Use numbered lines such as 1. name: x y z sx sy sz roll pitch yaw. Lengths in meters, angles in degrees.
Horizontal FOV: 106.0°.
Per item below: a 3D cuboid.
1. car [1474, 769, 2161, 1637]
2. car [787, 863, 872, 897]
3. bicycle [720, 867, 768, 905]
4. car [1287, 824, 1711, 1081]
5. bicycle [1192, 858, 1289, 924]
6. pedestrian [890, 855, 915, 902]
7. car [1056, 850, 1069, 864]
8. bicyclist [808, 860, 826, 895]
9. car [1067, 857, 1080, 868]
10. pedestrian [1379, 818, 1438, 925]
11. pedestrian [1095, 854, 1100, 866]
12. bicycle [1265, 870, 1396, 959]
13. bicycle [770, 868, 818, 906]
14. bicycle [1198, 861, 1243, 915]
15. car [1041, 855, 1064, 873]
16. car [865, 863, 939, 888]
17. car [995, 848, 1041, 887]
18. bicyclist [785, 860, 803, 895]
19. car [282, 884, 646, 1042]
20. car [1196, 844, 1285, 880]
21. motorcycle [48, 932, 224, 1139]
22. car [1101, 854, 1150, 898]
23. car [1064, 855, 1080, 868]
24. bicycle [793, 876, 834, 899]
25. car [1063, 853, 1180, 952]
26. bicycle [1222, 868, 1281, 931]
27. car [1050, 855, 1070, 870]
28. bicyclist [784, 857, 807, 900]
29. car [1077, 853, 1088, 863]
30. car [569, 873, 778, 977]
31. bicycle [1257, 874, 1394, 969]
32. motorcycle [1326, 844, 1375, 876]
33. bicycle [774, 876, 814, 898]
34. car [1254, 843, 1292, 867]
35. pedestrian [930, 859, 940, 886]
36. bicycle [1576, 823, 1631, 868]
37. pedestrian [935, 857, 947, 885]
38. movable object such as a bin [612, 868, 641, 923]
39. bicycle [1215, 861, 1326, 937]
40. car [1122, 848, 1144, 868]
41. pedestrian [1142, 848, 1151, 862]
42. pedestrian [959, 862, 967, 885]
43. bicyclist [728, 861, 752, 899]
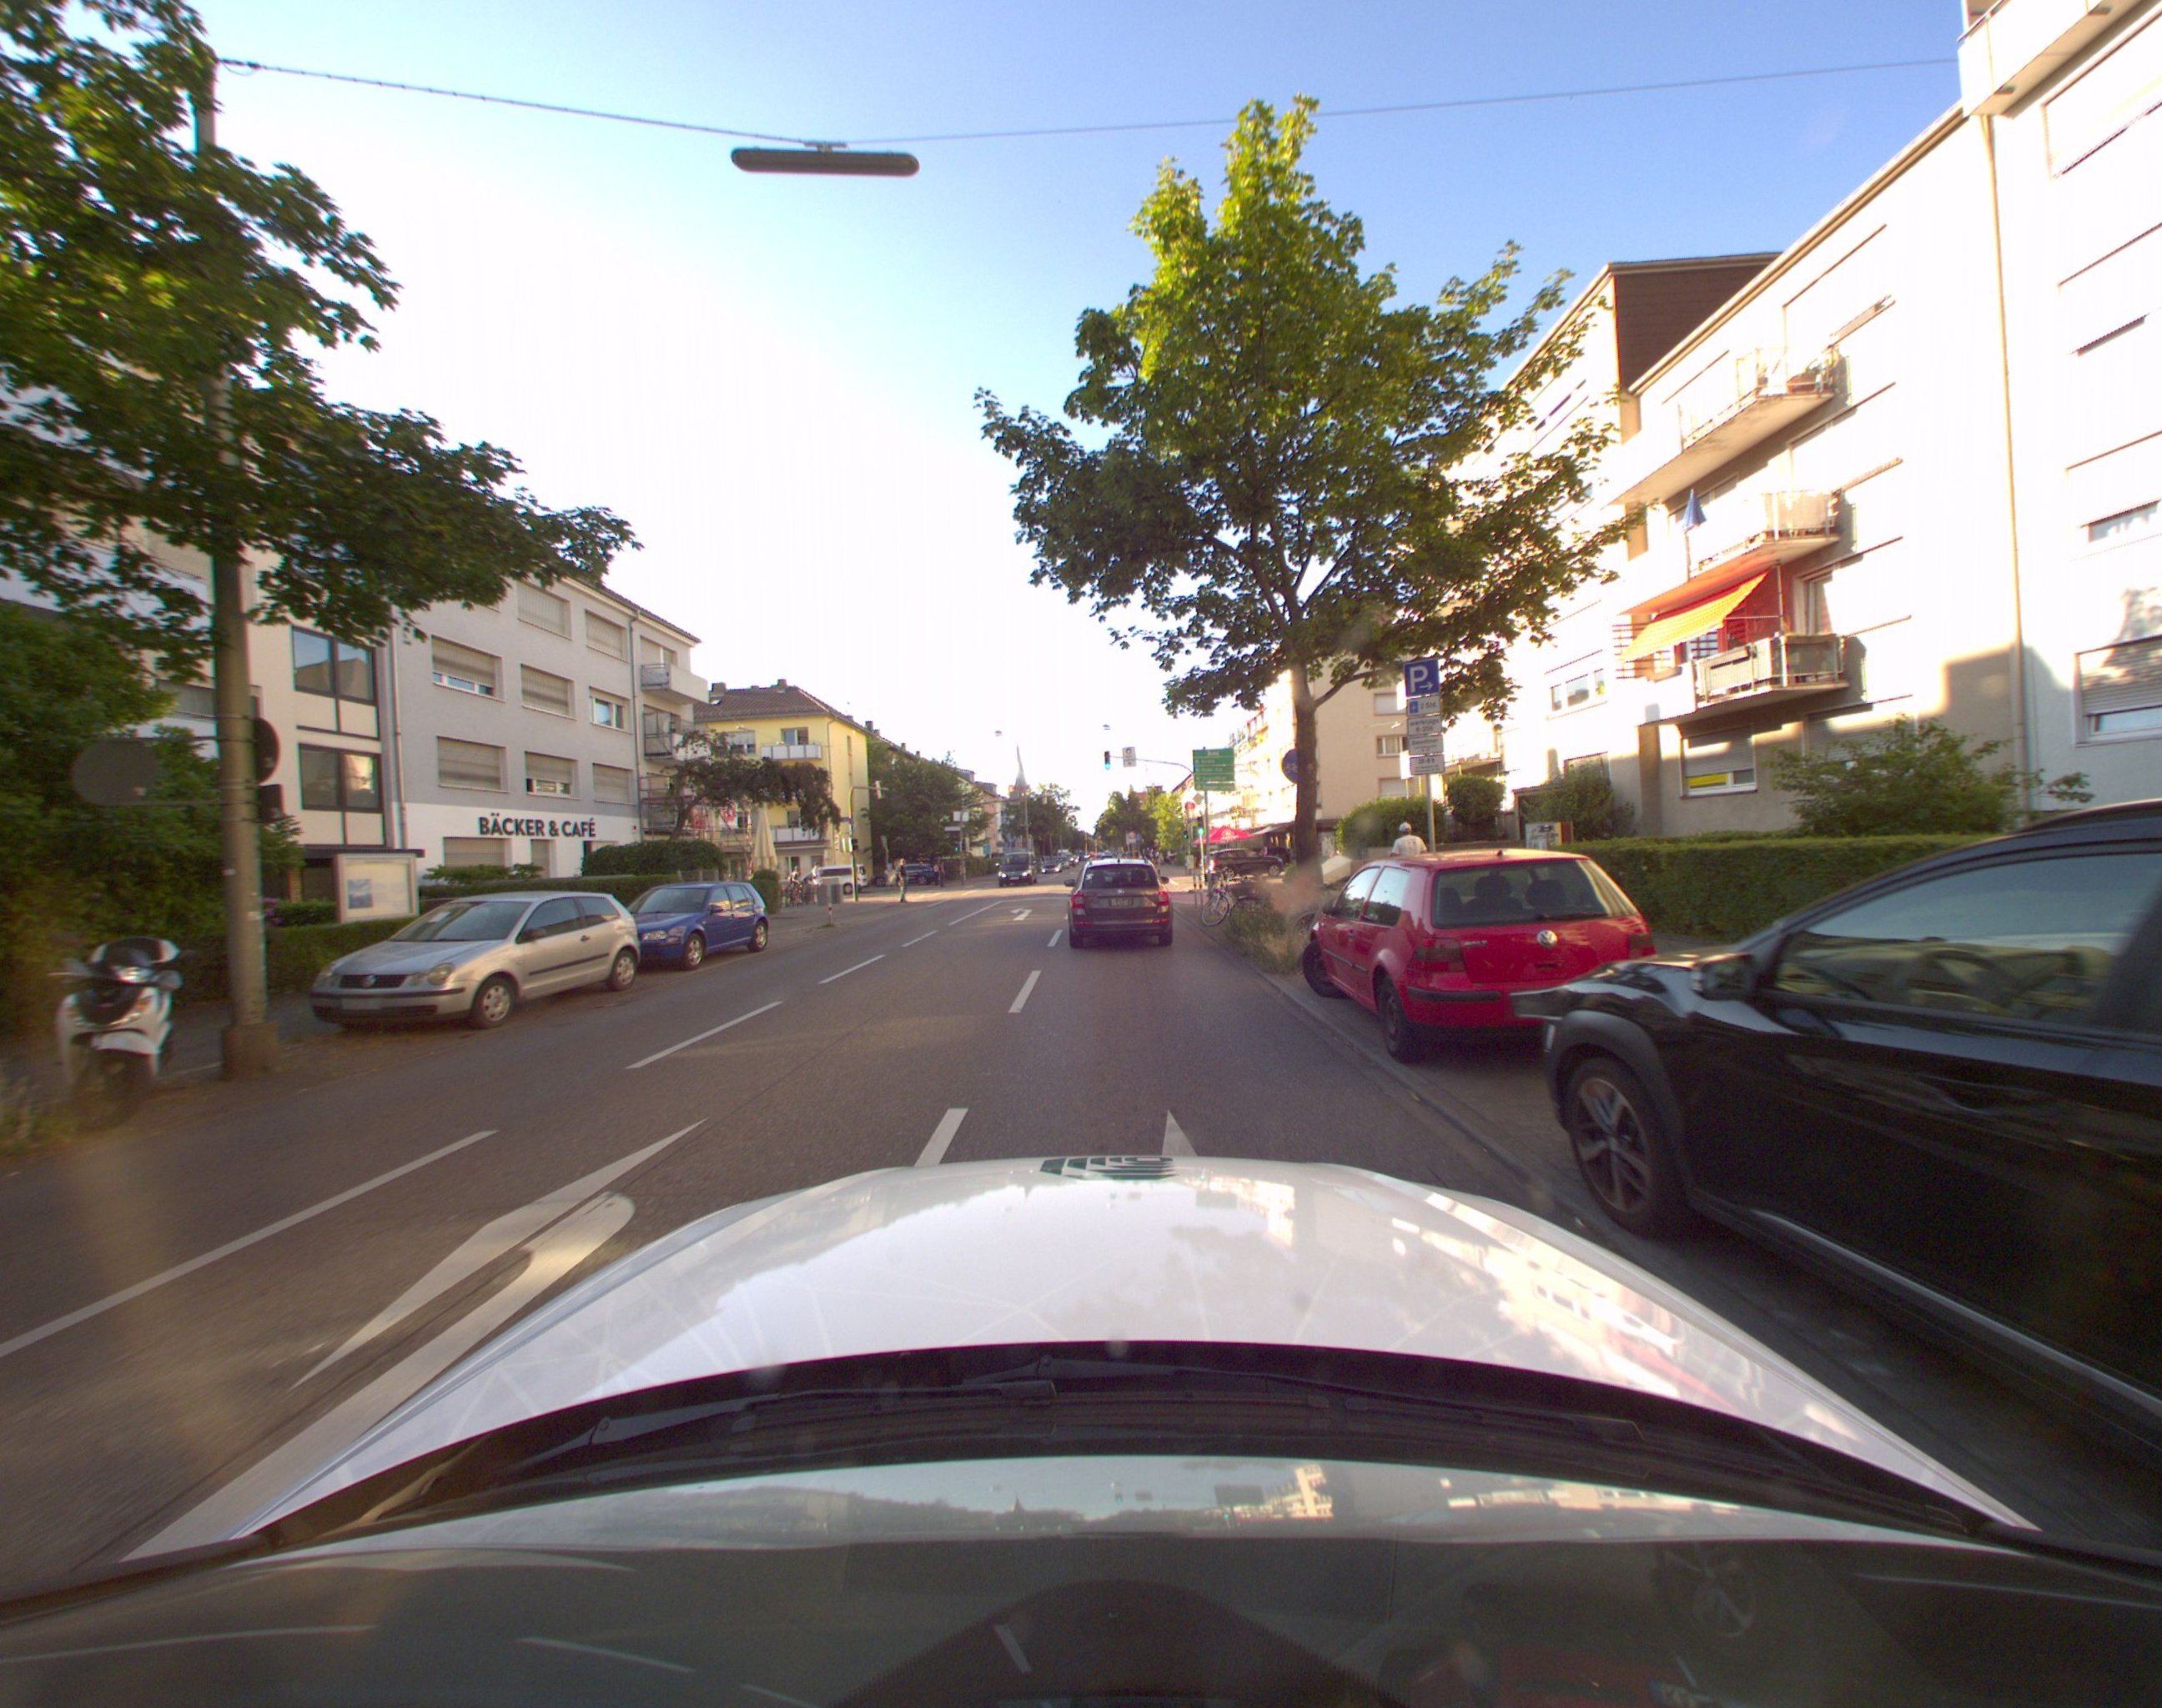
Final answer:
1. car: 2.847 0.572 1.942 1.849 1.581 4.014 -4 0 1
2. car: -15.596 1.579 50.651 4.618 1.811 1.862 -3 0 0
3. bicycle: -16.351 1.554 39.525 1.914 1.706 0.757 -3 0 -2
4. car: 3.046 0.605 6.978 1.696 1.450 4.017 -4 0 4
5. bicycle: 3.227 0.754 16.618 1.824 1.157 0.685 -5 -1 7
6. pedestrian: -7.841 1.054 35.768 0.777 1.987 0.821 -3 0 2
7. car: -3.414 0.545 149.143 1.986 2.478 4.001 -3 0 1
8. bicyclist: -14.037 1.227 43.337 0.738 1.823 0.652 -3 0 -7
9. car: -1.117 1.303 123.686 1.697 1.550 4.004 -3 0 2
10. pedestrian: 5.651 0.295 14.084 0.659 1.749 0.774 -4 -1 7
11. pedestrian: 2.326 0.867 112.513 0.643 1.646 0.805 -3 0 1
12. bicycle: 3.351 0.804 11.008 1.564 1.104 0.501 -3 0 2
13. bicycle: -14.017 1.595 39.803 2.017 1.706 0.757 -3 0 -2
14. bicycle: 3.237 0.764 19.038 0.501 1.147 1.956 -5 -1 -4
15. car: -2.620 0.935 76.061 1.823 1.579 4.001 -3 0 2
16. car: -12.401 1.456 56.601 4.618 1.535 1.862 -2 0 0
17. car: -3.511 0.728 46.116 1.987 1.908 4.965 -5 0 1
18. bicyclist: -15.569 1.253 44.199 0.738 1.823 0.652 -3 0 -7
19. car: -7.333 1.188 10.237 1.587 1.470 3.805 -1 0 2
20. car: 7.930 0.384 40.589 4.006 1.552 1.791 -3 0 -24
21. motorcycle: -7.379 1.298 6.358 2.028 1.265 0.772 -3 -1 39
22. car: 1.703 0.814 31.617 1.730 1.571 4.002 -1 0 2
23. car: -1.176 0.988 106.985 1.780 1.571 4.002 -1 0 2
24. bicycle: -14.209 1.772 43.310 1.899 1.071 0.717 -3 -1 -8
25. car: 0.669 0.753 14.730 1.767 1.489 4.311 -2 0 1
26. bicycle: 3.173 0.817 15.085 0.613 1.051 1.583 -3 0 28
27. car: -2.369 1.007 93.819 1.986 1.610 4.002 -3 0 2
28. bicyclist: -13.973 1.190 39.872 0.723 2.013 0.843 -3 0 -2
29. car: 0.343 0.750 169.578 1.986 2.013 4.002 -3 0 2
30. car: -7.201 1.175 14.899 1.642 1.517 4.075 -1 0 2
31. bicycle: 3.080 0.842 10.313 1.564 1.104 0.392 -3 0 2
32. motorcycle: 12.121 0.272 36.645 1.904 1.361 0.695 -3 0 6
33. bicycle: -15.543 1.795 44.190 1.899 1.071 0.717 -3 -1 -8
34. car: 13.176 0.068 56.225 1.769 1.486 4.002 -3 0 2
35. pedestrian: -9.658 1.223 54.014 0.448 1.797 0.504 -3 0 2
36. bicycle: 14.216 -0.223 22.224 0.354 1.183 1.797 -3 0 2
37. pedestrian: -9.185 1.135 53.552 0.613 1.797 0.504 -3 0 2
38. movable object such as a bin: -12.168 1.111 21.807 0.390 1.427 0.575 -3 0 0
39. bicycle: 3.152 0.747 13.658 1.677 1.107 0.518 -5 -1 7
40. car: 4.943 0.344 76.640 1.984 1.772 4.005 -1 0 4
41. pedestrian: 7.923 0.118 98.472 0.668 1.704 0.806 -3 -1 28
42. pedestrian: -7.943 1.307 54.816 0.299 1.504 0.641 -3 0 2
43. bicyclist: -16.558 1.239 39.518 0.783 1.799 0.709 -3 0 -1
